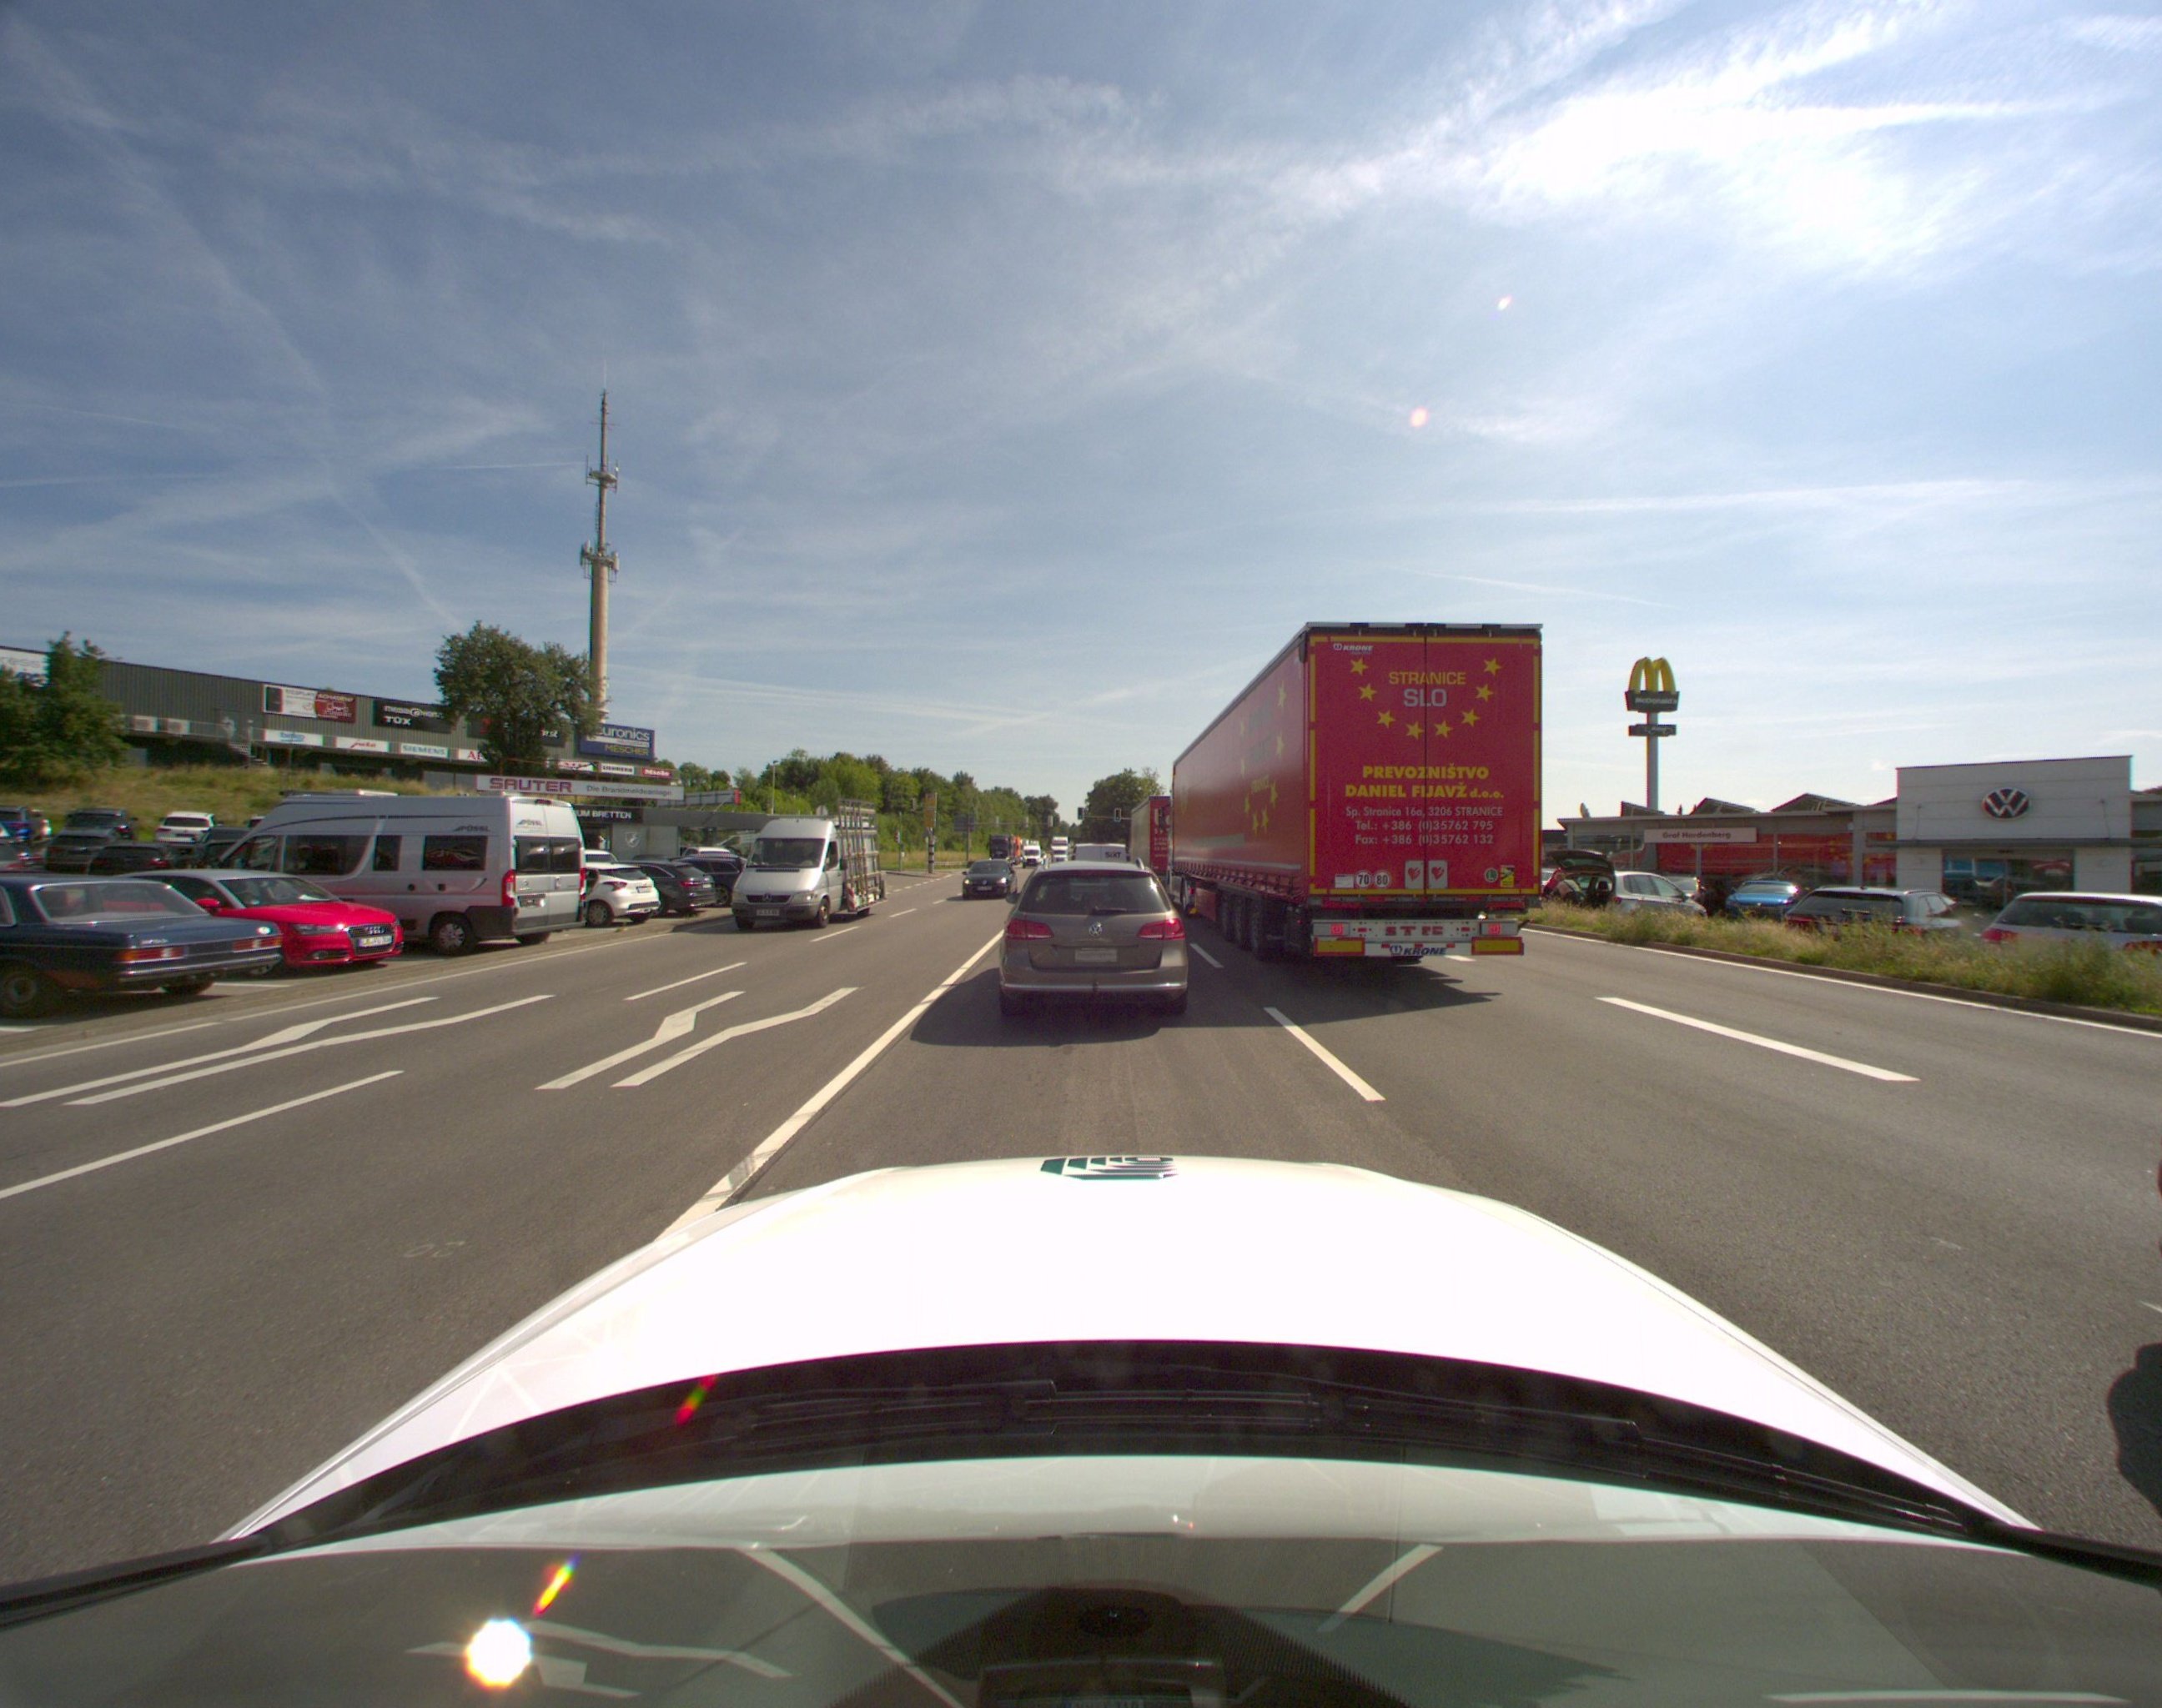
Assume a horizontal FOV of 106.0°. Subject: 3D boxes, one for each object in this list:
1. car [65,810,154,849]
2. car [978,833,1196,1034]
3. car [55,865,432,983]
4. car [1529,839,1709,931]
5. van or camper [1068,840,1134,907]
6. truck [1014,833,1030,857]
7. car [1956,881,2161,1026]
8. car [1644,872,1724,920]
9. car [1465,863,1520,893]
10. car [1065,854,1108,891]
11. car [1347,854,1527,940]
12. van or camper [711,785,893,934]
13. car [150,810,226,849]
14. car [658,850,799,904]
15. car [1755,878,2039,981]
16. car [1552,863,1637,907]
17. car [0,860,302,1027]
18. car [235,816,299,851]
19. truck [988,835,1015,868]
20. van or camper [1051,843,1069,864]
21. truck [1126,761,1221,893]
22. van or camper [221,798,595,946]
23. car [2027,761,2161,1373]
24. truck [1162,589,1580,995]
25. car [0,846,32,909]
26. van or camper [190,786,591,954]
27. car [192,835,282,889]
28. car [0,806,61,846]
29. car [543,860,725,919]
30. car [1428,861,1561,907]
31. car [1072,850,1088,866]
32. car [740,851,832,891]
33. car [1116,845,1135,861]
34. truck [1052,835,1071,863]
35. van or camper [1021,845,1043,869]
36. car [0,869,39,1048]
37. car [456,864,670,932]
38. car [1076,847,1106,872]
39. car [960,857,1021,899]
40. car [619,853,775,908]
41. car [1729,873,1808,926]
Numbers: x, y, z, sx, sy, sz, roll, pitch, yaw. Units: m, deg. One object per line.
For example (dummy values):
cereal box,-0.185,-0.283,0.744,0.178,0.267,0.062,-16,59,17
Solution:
car,-40.200,-0.964,33.797,1.745,1.450,3.705,1,-1,-40
car,0.163,0.669,8.492,1.782,1.638,3.507,-1,0,4
car,-11.926,0.949,11.791,3.581,1.480,1.813,-1,0,1
car,12.345,0.646,18.678,3.852,1.921,1.689,0,0,-25
van or camper,0.565,0.549,24.857,1.846,1.906,3.784,0,0,0
truck,-10.129,-1.510,139.674,2.527,3.786,6.981,-2,0,-3
car,12.707,1.078,9.850,3.850,1.399,1.690,0,0,-23
car,21.698,1.445,29.253,1.781,1.531,4.252,0,0,44
car,22.235,1.268,43.993,1.666,1.531,3.618,0,0,44
car,0.276,0.779,34.822,1.720,1.519,3.314,0,-1,2
car,6.838,0.750,16.143,1.655,1.472,3.996,-1,0,-3
van or camper,-6.432,0.104,19.741,2.199,3.056,5.904,0,0,2
car,-38.641,-1.013,35.320,1.745,1.537,3.705,1,-1,-40
car,-11.569,0.747,26.912,3.805,1.675,1.842,-1,0,-1
car,13.058,1.120,13.068,3.844,1.399,1.692,0,0,-18
car,19.859,1.152,31.423,1.975,1.531,4.024,0,0,44
car,-11.463,0.911,9.112,3.697,1.484,1.707,3,0,-1
car,-36.846,-0.878,36.933,1.745,1.450,3.705,1,-1,-40
truck,-9.445,-0.320,97.576,2.807,3.786,6.981,-2,0,-3
van or camper,-2.925,0.005,114.839,2.216,2.841,5.710,0,-1,1
truck,4.143,-1.074,40.770,3.052,5.220,17.007,0,0,1
van or camper,-13.784,0.345,17.003,5.872,2.873,2.290,0,0,0
car,3.824,0.573,0.533,1.812,1.685,4.001,-1,0,1
truck,3.867,-0.664,16.847,2.947,4.269,16.584,0,0,1
car,-28.982,0.620,20.329,3.795,1.588,1.773,-1,0,8
van or camper,-11.952,0.263,14.399,5.225,2.731,2.211,0,0,1
car,-27.187,0.254,26.193,3.780,1.588,1.780,-1,0,41
car,-42.158,-1.063,32.071,1.745,1.450,3.705,1,-1,-40
car,-11.855,0.917,21.773,3.805,1.448,1.842,-1,0,-1
car,15.250,1.045,30.237,2.005,1.531,3.964,0,0,-28
car,-0.099,0.451,98.780,1.719,1.909,3.315,0,-1,4
car,-13.253,0.742,36.534,3.780,1.693,1.854,-1,0,30
car,4.371,-0.109,80.130,1.721,1.519,3.312,0,-1,0
truck,-3.092,-0.820,129.674,2.544,4.307,7.596,-2,0,1
van or camper,-5.314,0.286,88.825,2.166,2.551,4.170,0,0,0
car,-11.297,0.898,6.492,3.697,1.555,1.707,1,1,-1
car,-12.086,0.987,19.195,3.805,1.448,1.842,-1,0,-1
car,0.635,0.333,50.505,1.720,1.519,3.314,0,-1,2
car,-3.338,0.853,30.696,1.660,1.409,3.928,-2,0,2
car,-11.489,0.779,24.576,3.805,1.539,1.842,-1,0,-1
car,23.057,1.458,27.279,3.808,1.557,1.681,0,0,-45
